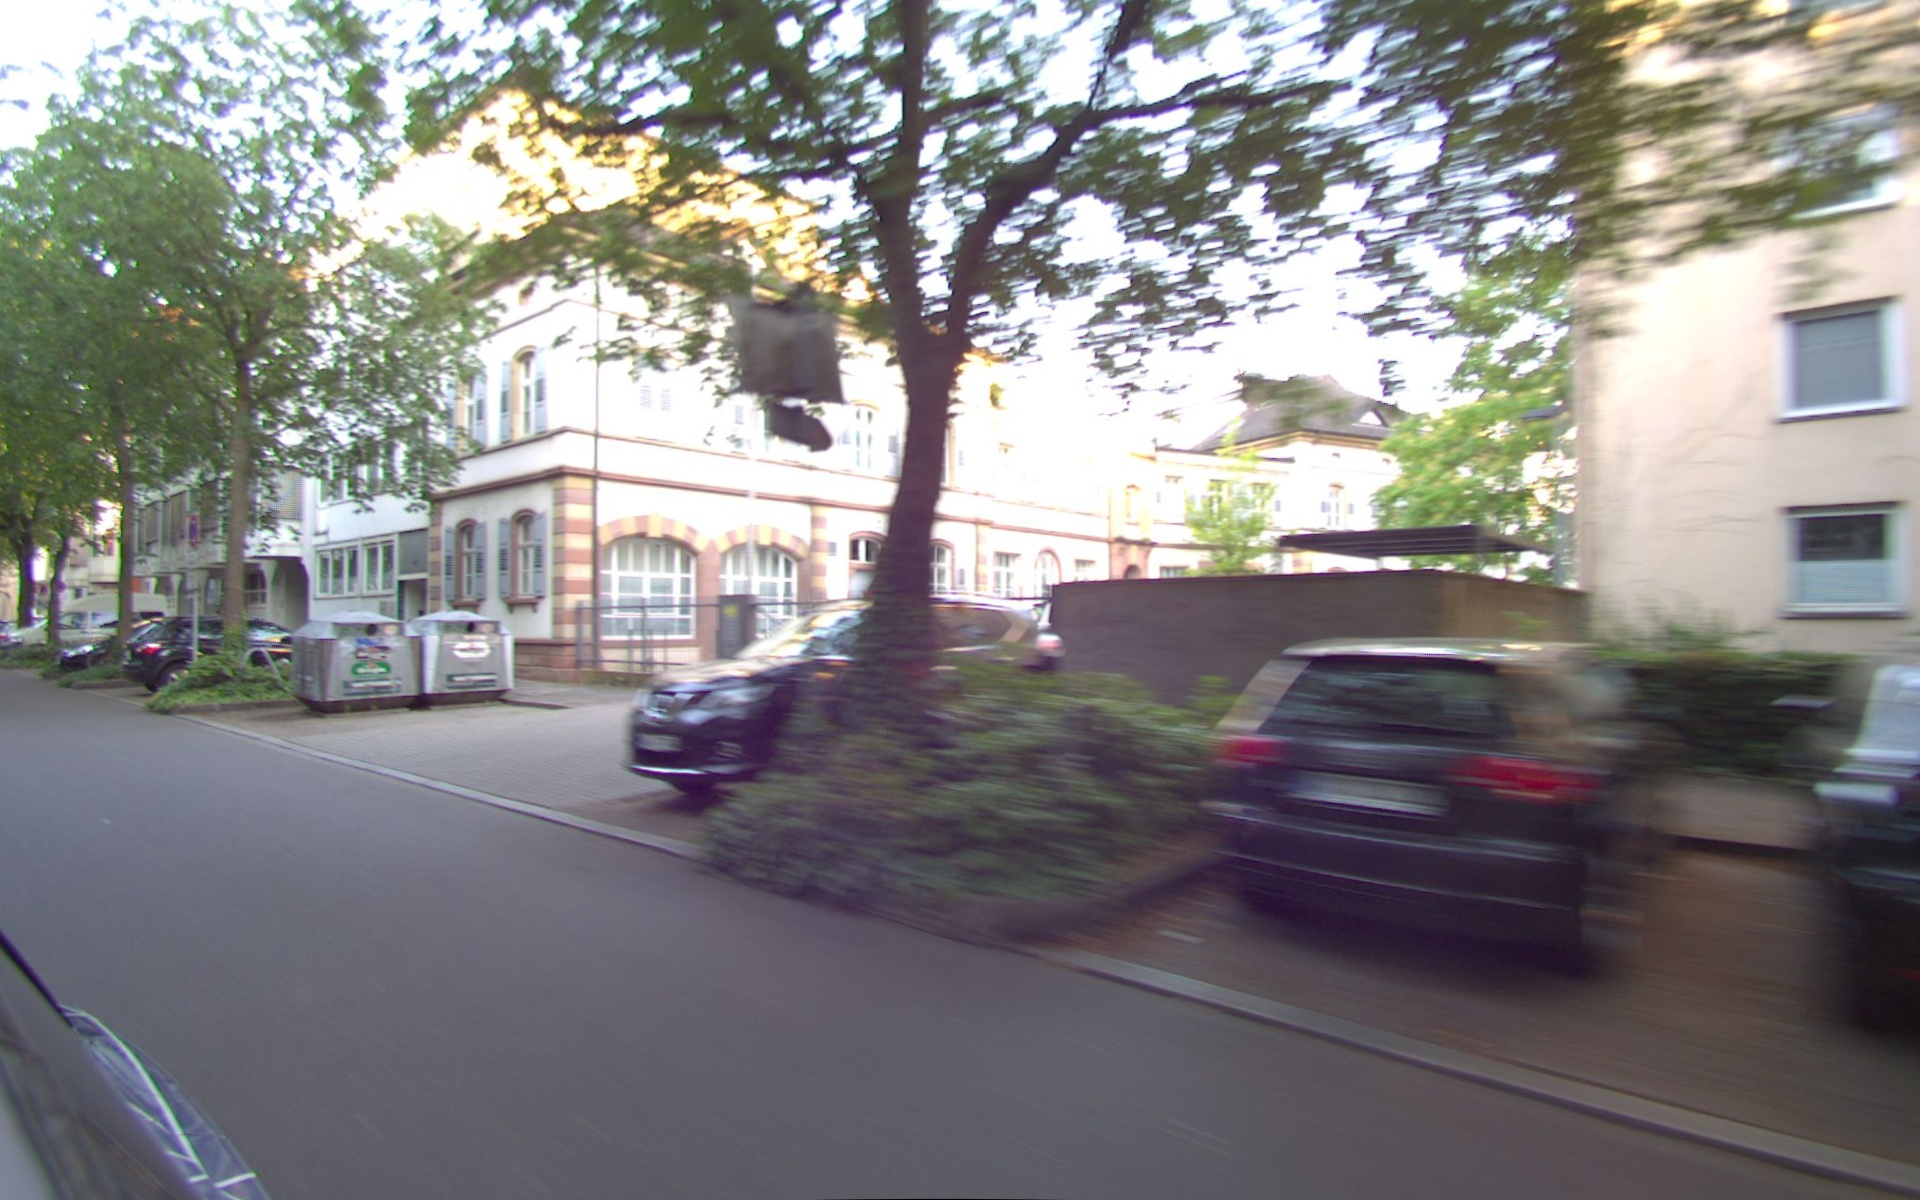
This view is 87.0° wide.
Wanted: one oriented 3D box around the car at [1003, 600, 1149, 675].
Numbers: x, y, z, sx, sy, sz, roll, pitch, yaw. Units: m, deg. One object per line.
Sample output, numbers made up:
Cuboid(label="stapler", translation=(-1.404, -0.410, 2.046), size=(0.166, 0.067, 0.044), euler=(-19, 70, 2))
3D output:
Cuboid(label="car", translation=(3.319, 1.062, 29.471), size=(3.998, 2.029, 1.666), euler=(-1, -2, 41))

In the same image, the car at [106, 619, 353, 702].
Cuboid(label="car", translation=(-15.491, 1.215, 21.626), size=(1.826, 1.600, 3.948), euler=(-2, -2, 39))

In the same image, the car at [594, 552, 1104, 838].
Cuboid(label="car", translation=(-0.749, 0.666, 9.078), size=(1.999, 1.906, 4.372), euler=(-2, -1, 40))

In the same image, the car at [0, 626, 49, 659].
Cuboid(label="car", translation=(-52.182, 2.279, 54.489), size=(1.789, 1.772, 4.420), euler=(-1, -3, 38))

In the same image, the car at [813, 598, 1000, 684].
Cuboid(label="car", translation=(-1.346, 0.904, 24.111), size=(4.461, 1.820, 1.763), euler=(1, 0, 41))

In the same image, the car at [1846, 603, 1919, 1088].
Cuboid(label="car", translation=(4.691, 0.782, 3.971), size=(1.663, 1.518, 3.371), euler=(-1, -2, 39))

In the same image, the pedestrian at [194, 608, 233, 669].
Cuboid(label="pedestrian", translation=(-25.529, 1.312, 34.589), size=(0.839, 2.029, 0.930), euler=(-2, -2, 45))

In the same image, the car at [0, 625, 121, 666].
Cuboid(label="car", translation=(-36.414, 1.801, 40.699), size=(1.622, 1.539, 4.008), euler=(-2, -2, 44))

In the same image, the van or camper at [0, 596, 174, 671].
Cuboid(label="van or camper", translation=(-30.472, 1.160, 35.098), size=(1.944, 2.446, 4.766), euler=(-2, -3, 41))

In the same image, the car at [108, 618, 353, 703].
Cuboid(label="car", translation=(-15.469, 1.215, 21.620), size=(1.788, 1.604, 3.946), euler=(-2, -1, 41))

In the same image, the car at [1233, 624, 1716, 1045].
Cuboid(label="car", translation=(2.901, 0.856, 5.340), size=(1.592, 1.453, 3.371), euler=(-1, -2, 39))

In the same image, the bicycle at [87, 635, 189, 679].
Cuboid(label="bicycle", translation=(-20.239, 1.385, 24.963), size=(0.479, 1.033, 1.882), euler=(-2, -3, 40))

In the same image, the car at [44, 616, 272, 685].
Cuboid(label="car", translation=(-21.315, 1.321, 27.082), size=(1.619, 1.695, 4.492), euler=(-1, -3, 37))
